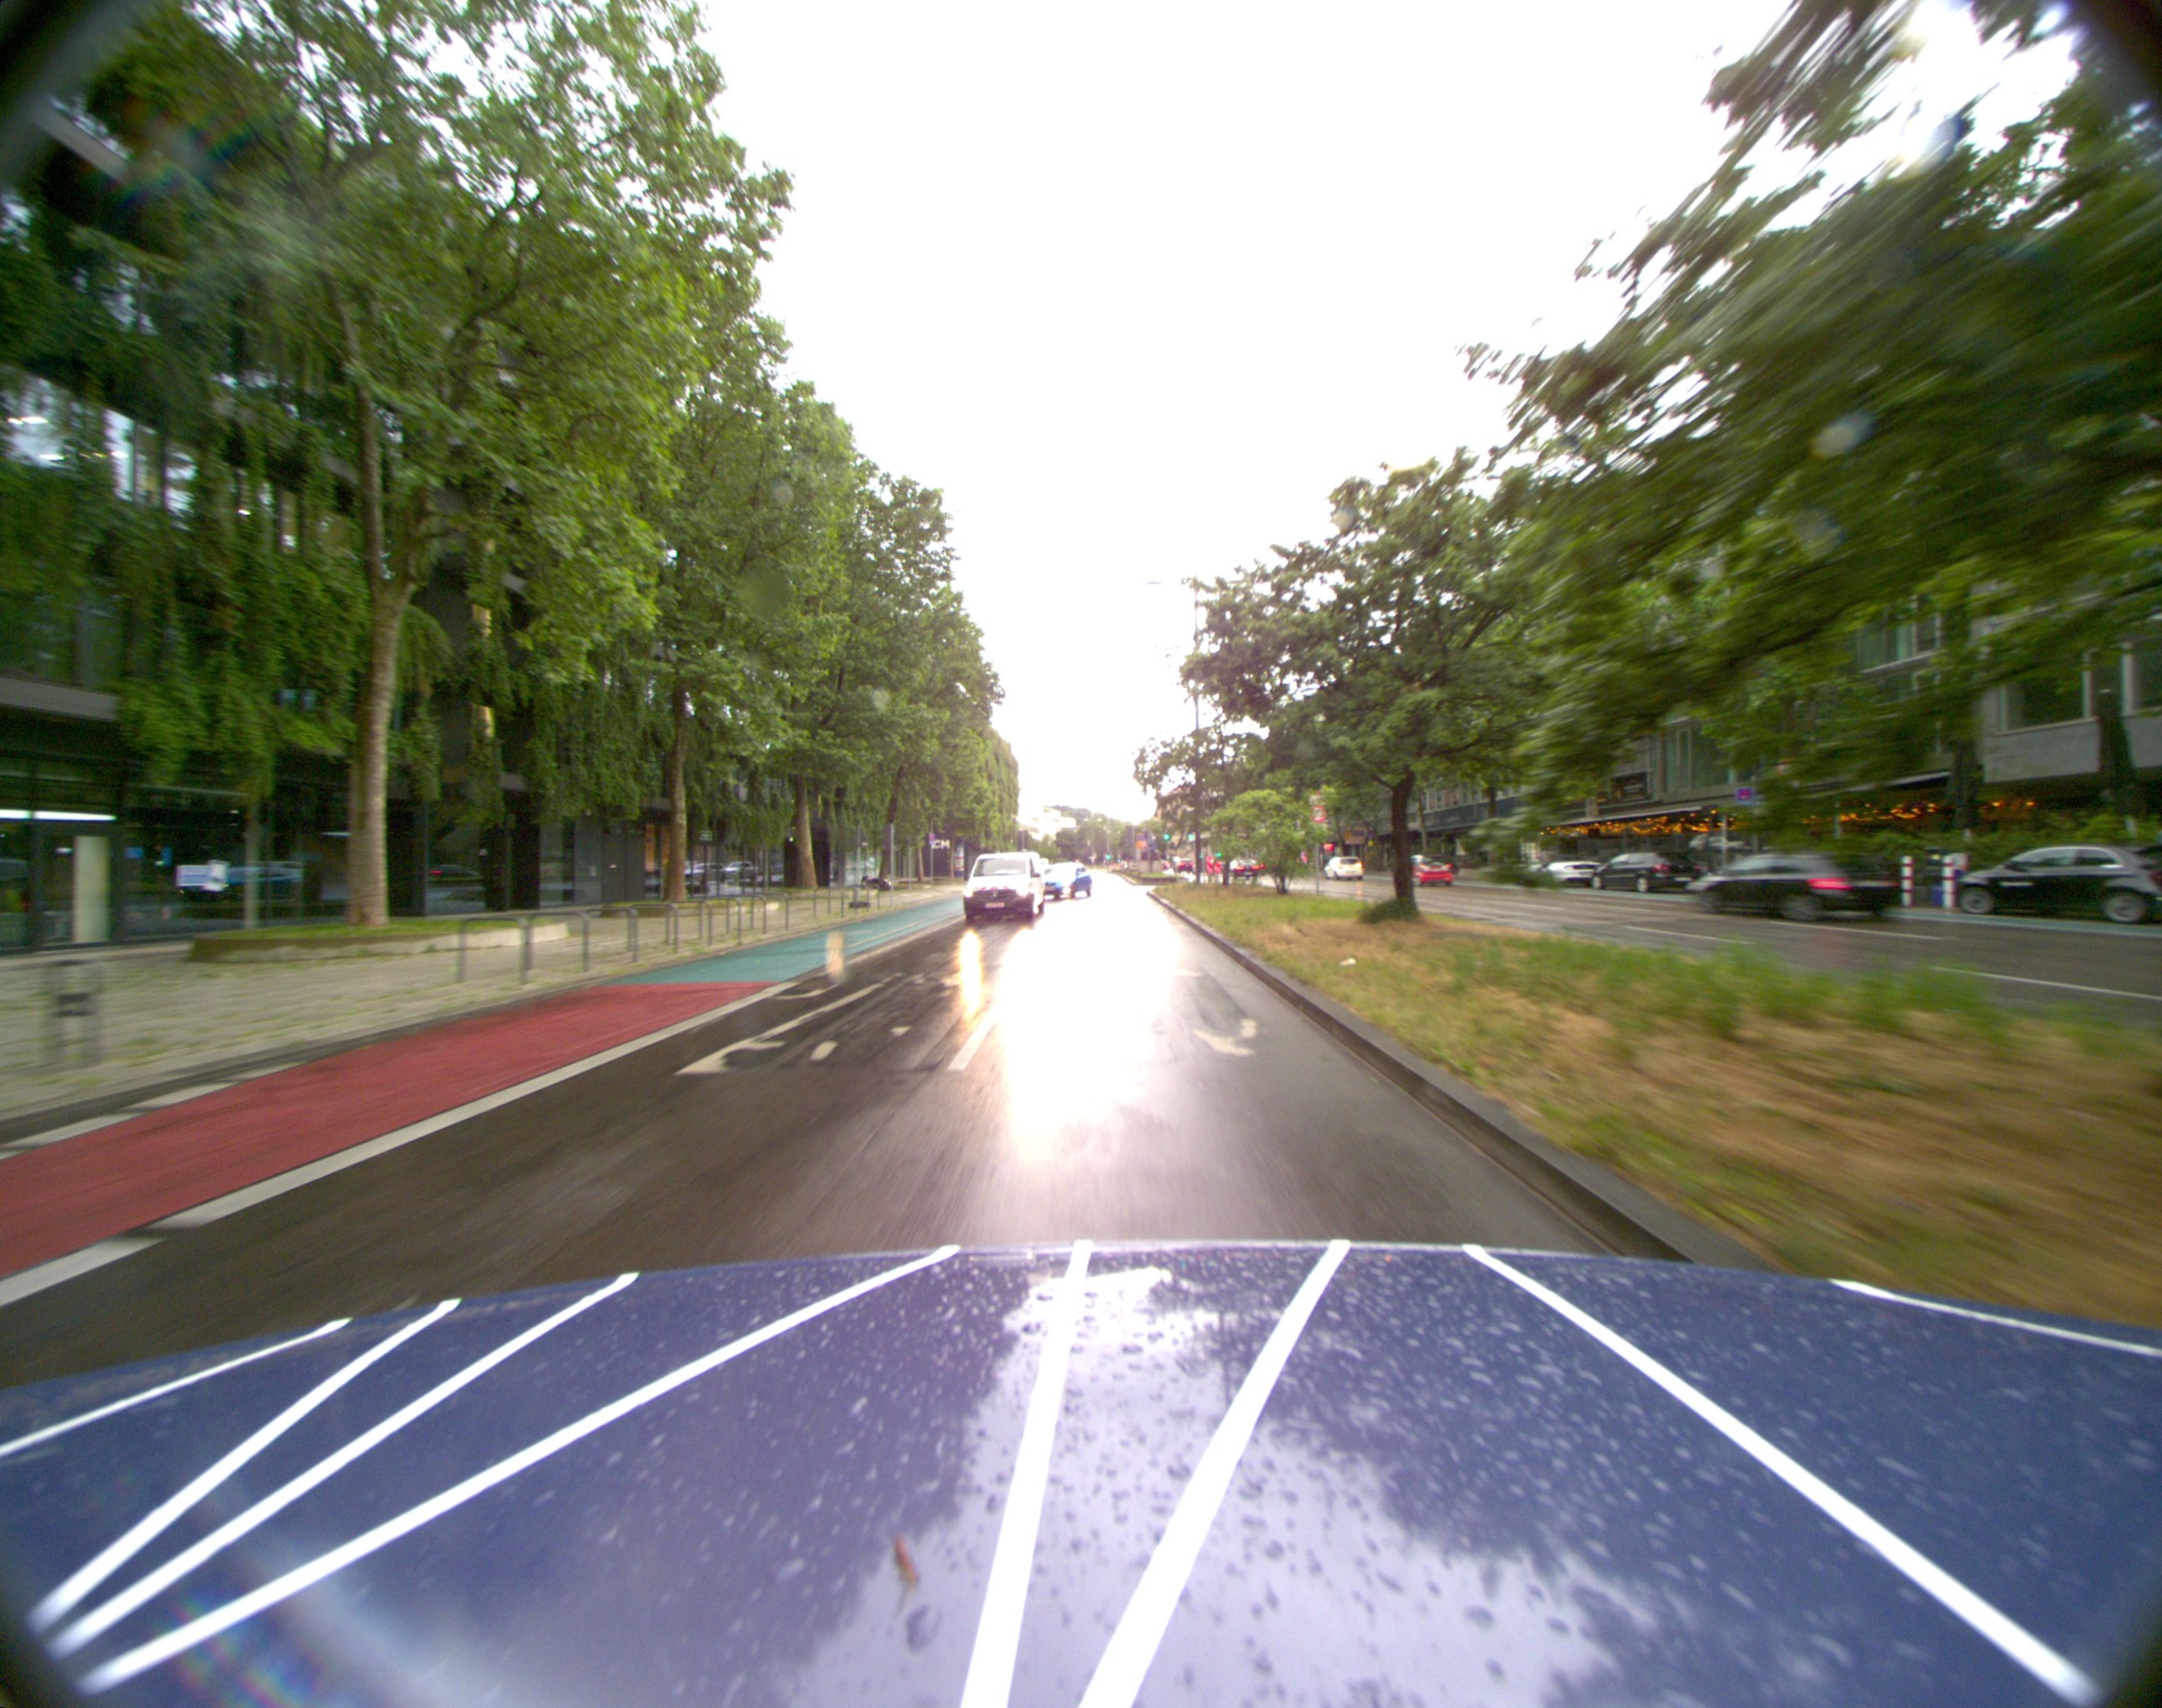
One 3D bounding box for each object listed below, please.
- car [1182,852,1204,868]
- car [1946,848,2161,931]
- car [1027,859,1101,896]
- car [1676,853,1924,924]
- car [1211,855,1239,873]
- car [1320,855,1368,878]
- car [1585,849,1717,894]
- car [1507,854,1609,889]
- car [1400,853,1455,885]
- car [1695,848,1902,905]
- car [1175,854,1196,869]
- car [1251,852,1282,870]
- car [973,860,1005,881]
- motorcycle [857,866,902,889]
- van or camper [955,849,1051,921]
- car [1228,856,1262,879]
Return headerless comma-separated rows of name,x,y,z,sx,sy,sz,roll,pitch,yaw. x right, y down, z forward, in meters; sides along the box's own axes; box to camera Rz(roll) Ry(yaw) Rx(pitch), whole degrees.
car,11.758,0.617,79.760,1.739,1.564,4.833,-1,-1,2
car,19.961,0.632,15.060,1.697,1.459,3.460,-1,-1,1
car,-0.657,0.977,33.005,1.845,1.473,4.402,-1,0,18
car,15.871,0.718,17.114,1.848,1.381,4.001,-1,-1,1
car,12.542,0.852,66.252,1.754,1.467,4.096,-1,0,2
car,16.772,0.795,48.656,1.848,1.420,3.643,-1,-1,1
car,20.459,0.609,27.513,1.841,1.499,4.001,-1,-1,1
car,20.507,0.744,32.918,1.563,1.345,4.684,-2,-1,2
car,16.742,0.720,36.846,1.497,1.454,2.732,-1,0,3
car,20.041,0.599,21.541,1.697,1.401,4.457,-1,-1,1
car,12.596,0.896,91.662,1.840,1.756,5.109,-1,-1,0
car,16.222,0.581,66.593,1.753,1.467,4.096,-1,0,2
car,-7.234,1.277,60.211,1.848,1.623,4.787,-1,-1,1
motorcycle,-11.934,1.399,44.976,2.313,1.263,1.053,-2,0,1
van or camper,-2.195,0.867,22.930,1.998,1.902,5.253,-1,-1,4
car,12.075,0.974,56.154,1.753,1.467,4.096,-2,1,2
